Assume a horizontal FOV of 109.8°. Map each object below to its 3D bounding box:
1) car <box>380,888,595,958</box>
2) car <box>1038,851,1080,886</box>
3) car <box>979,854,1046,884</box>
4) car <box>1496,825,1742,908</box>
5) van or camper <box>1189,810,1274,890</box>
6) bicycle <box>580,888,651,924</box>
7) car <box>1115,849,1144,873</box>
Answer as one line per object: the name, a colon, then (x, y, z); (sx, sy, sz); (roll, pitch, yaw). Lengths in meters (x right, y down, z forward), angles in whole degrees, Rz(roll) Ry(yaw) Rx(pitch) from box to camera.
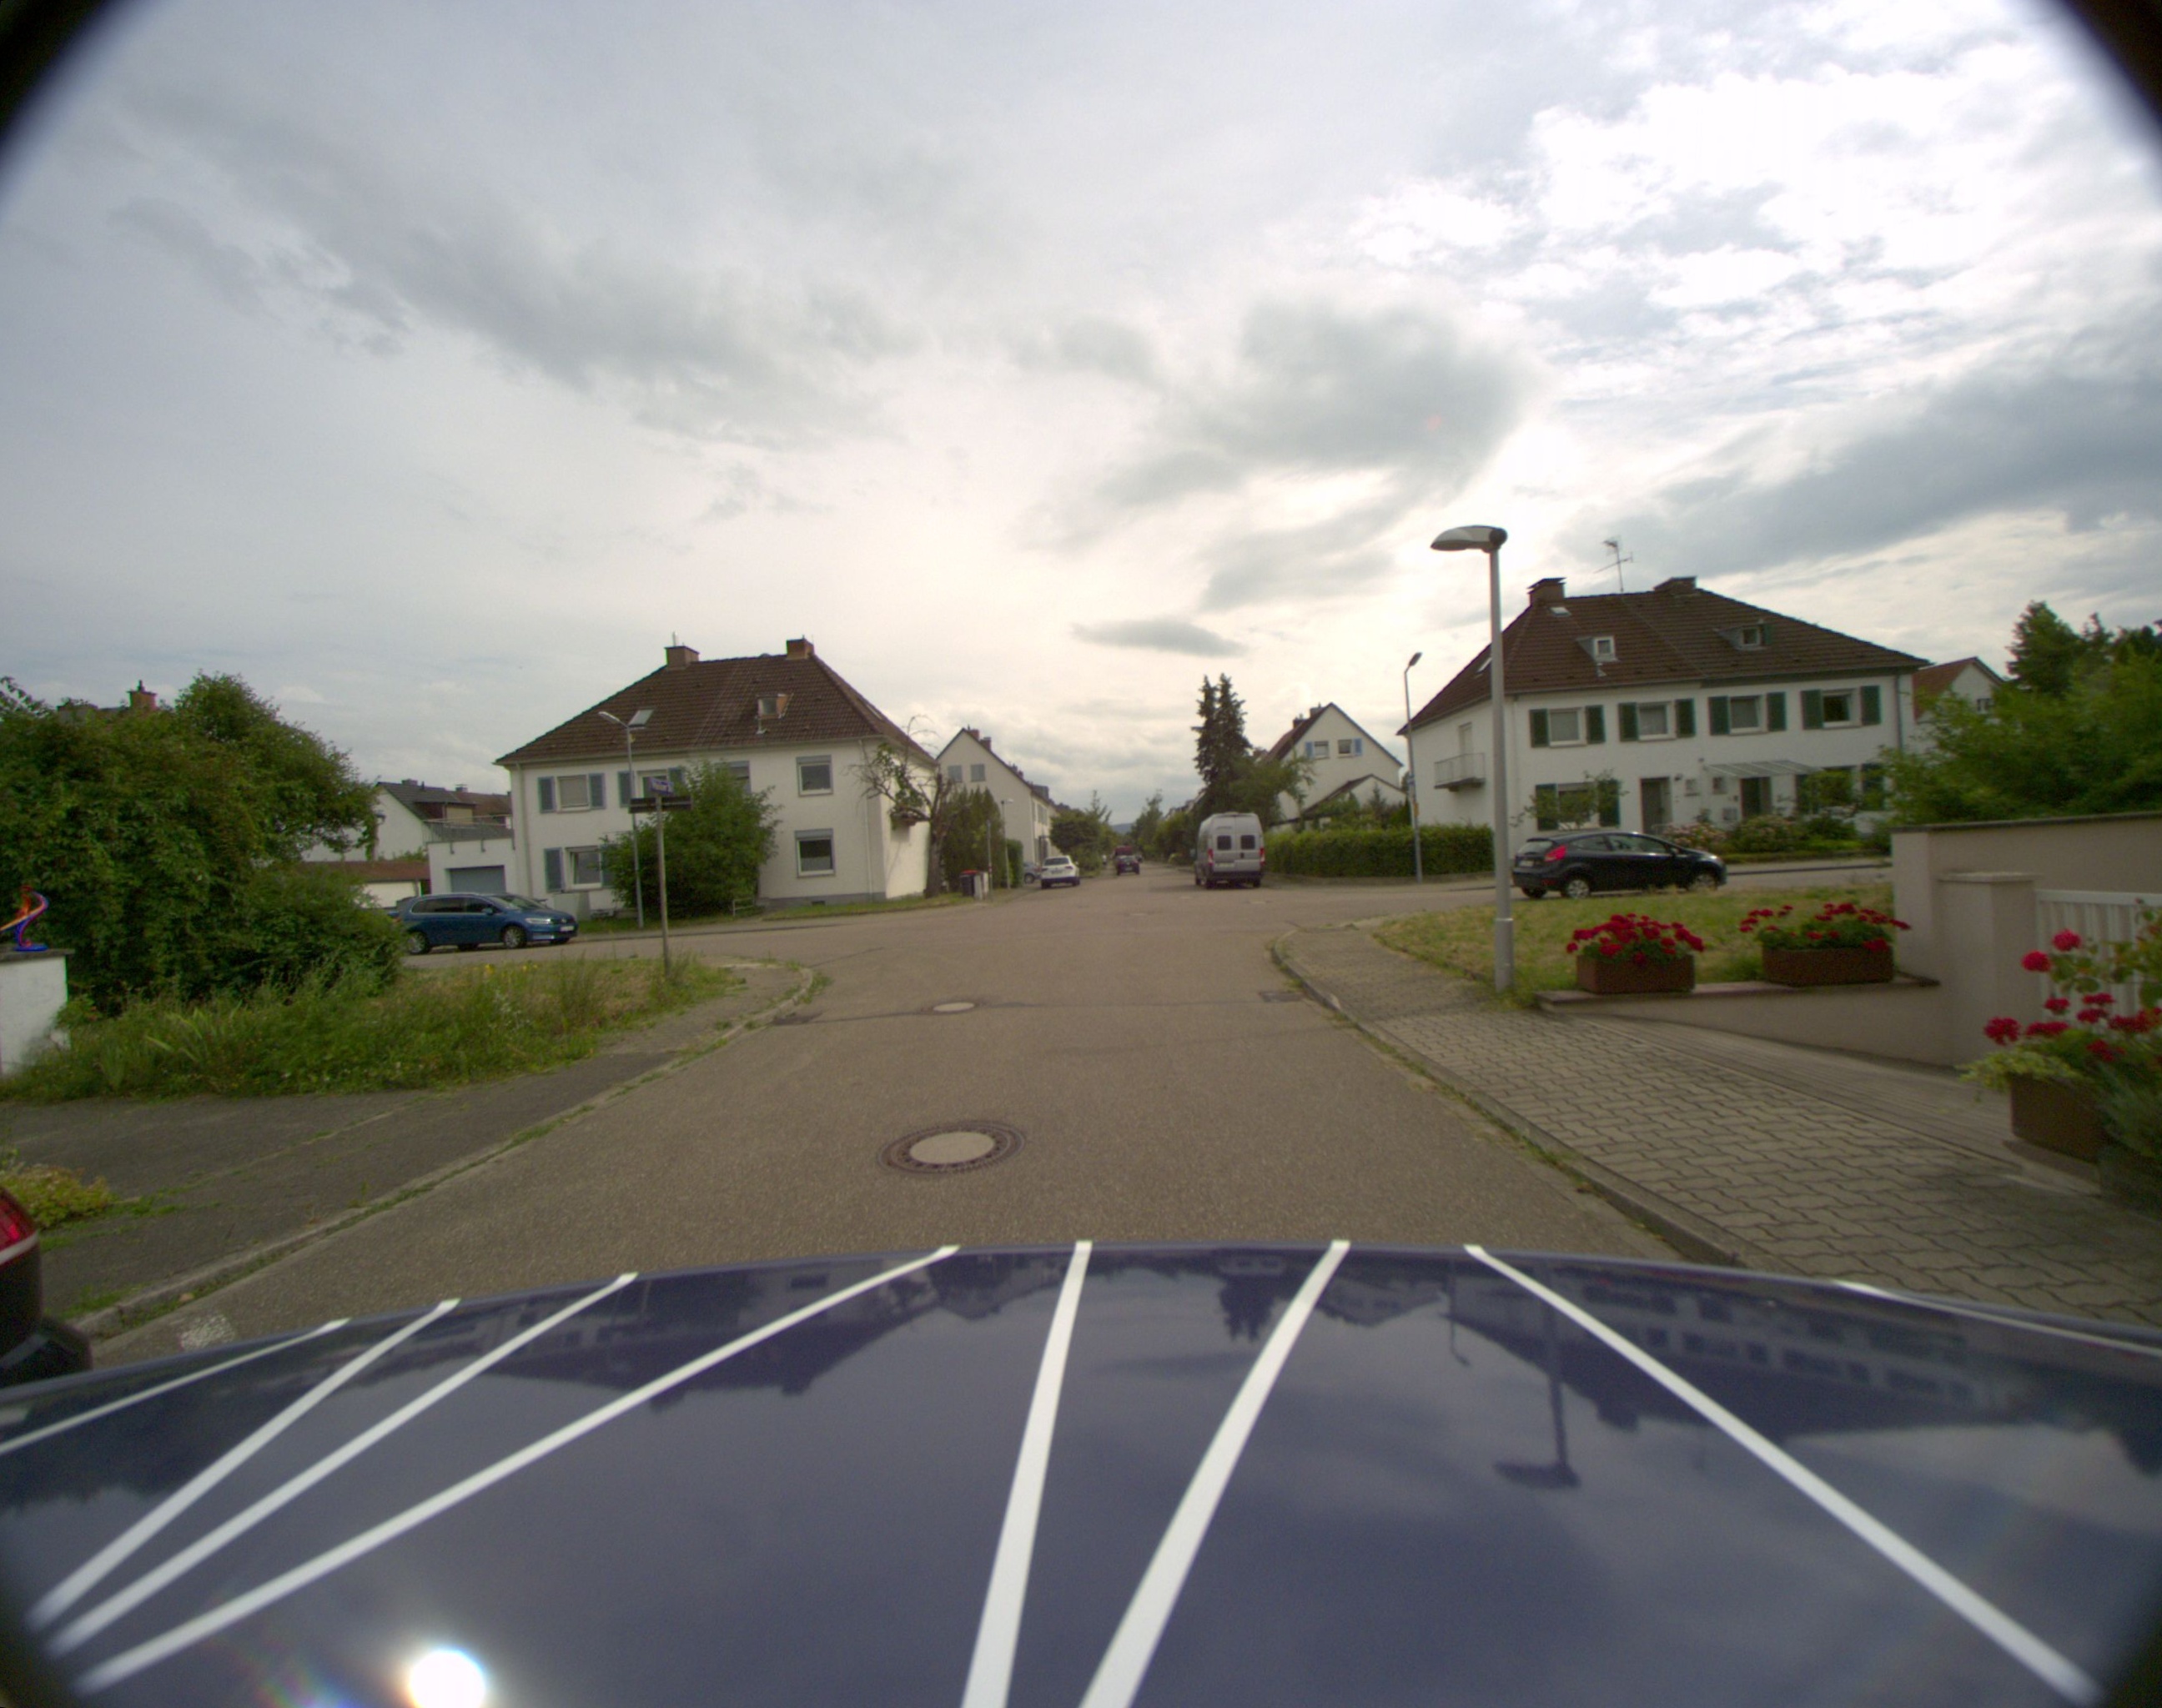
car: (-16.665, 1.914, 21.499); (4.541, 1.561, 2.000); (-3, 1, 4)
car: (-1.103, 0.722, 39.884); (1.999, 1.590, 3.999); (-3, 0, 0)
car: (-4.444, 0.951, 49.661); (3.996, 1.696, 2.000); (-3, 1, 4)
car: (11.209, 0.240, 16.034); (3.881, 1.433, 1.722); (-3, 1, 2)
van or camper: (5.761, -0.176, 29.921); (2.346, 2.719, 5.748); (-3, 0, 3)
bicycle: (-16.673, 1.854, 27.237); (2.169, 1.128, 0.572); (-3, 1, 3)
car: (3.818, 0.557, 59.781); (1.998, 1.696, 4.001); (-3, 0, 6)
